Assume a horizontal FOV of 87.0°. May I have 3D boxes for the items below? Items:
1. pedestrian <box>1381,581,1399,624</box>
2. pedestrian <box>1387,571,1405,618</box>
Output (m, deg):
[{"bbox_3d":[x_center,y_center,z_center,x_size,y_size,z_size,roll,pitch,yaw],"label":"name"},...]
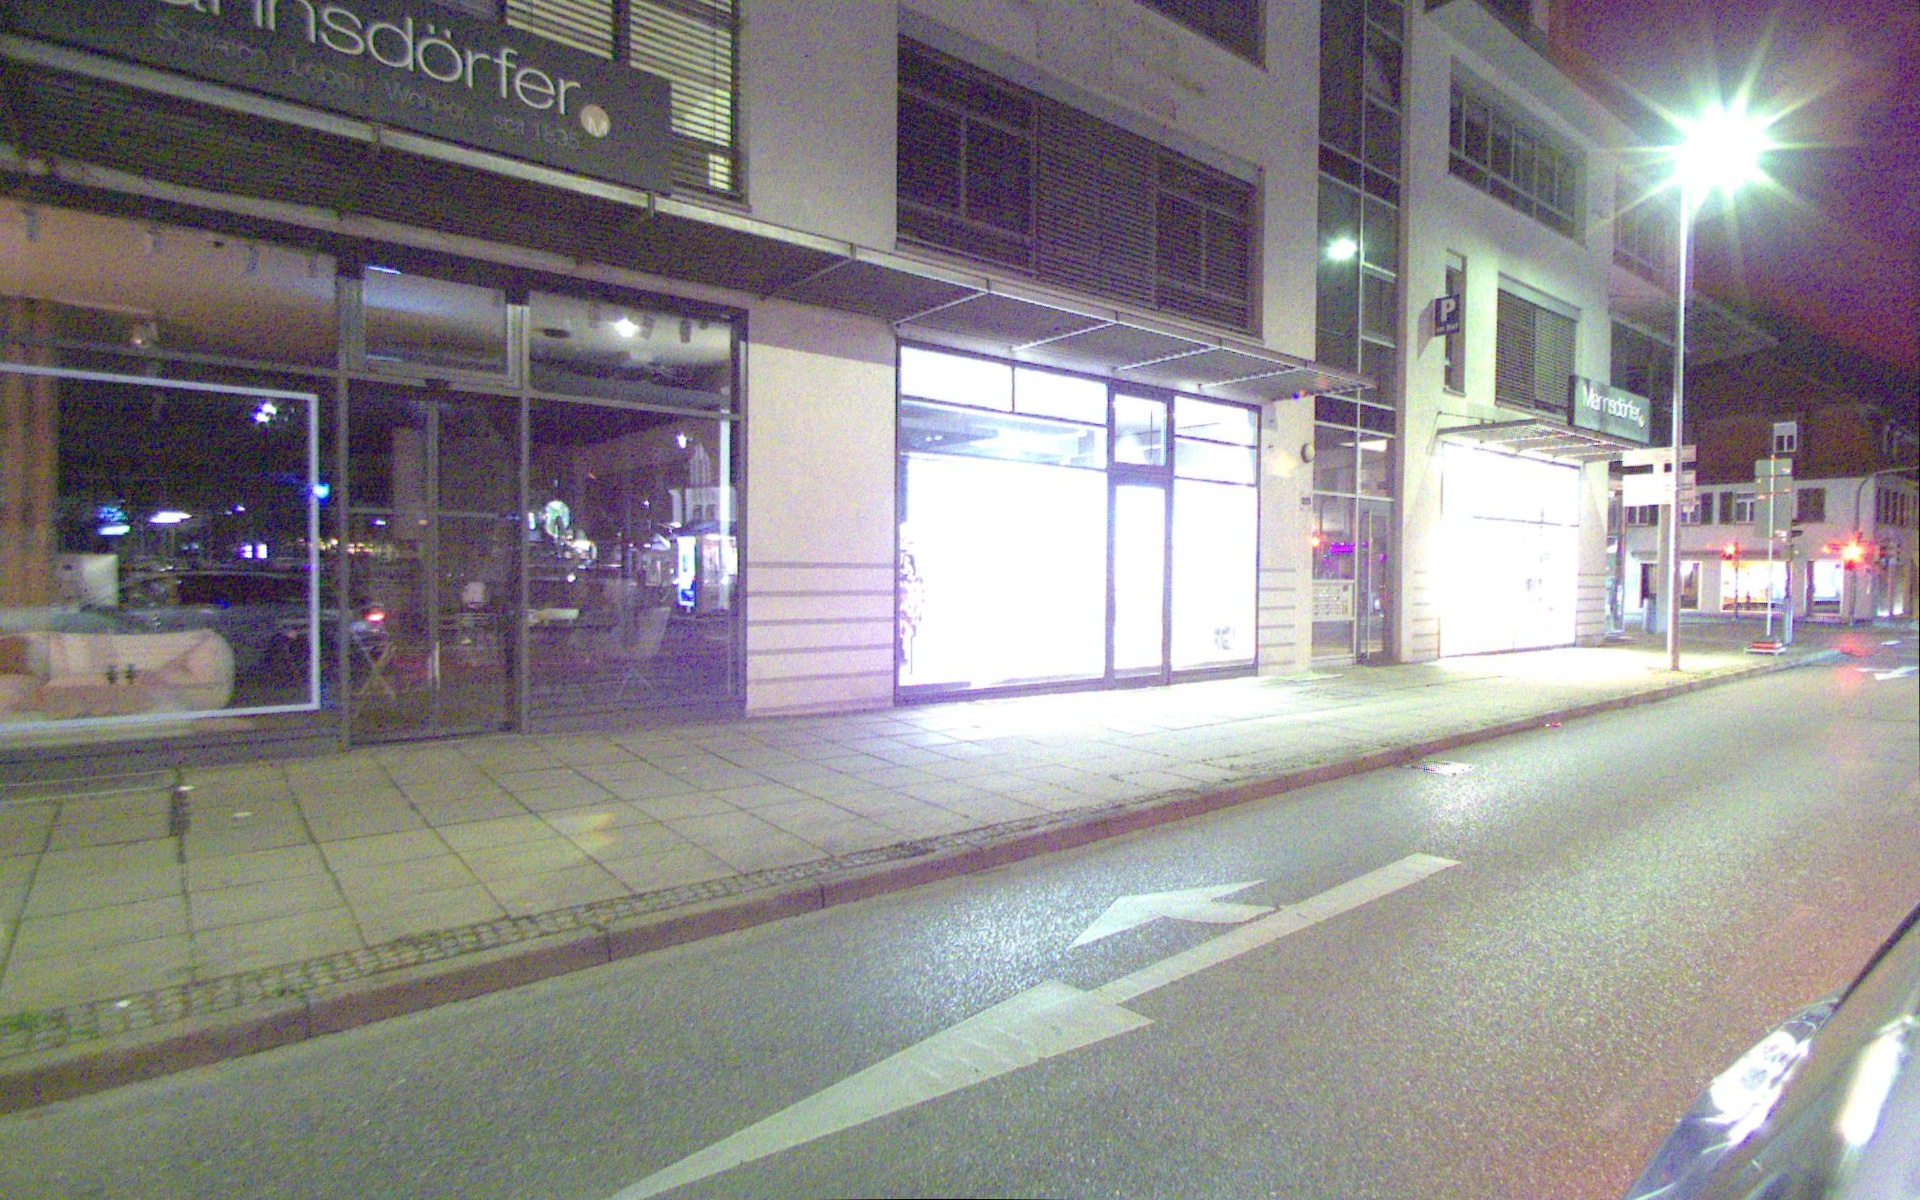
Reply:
[{"bbox_3d":[17.686,0.106,41.593,0.522,1.738,0.558,0,0,41],"label":"pedestrian"},{"bbox_3d":[15.789,-0.200,36.664,0.478,1.708,0.407,0,0,-36],"label":"pedestrian"}]
